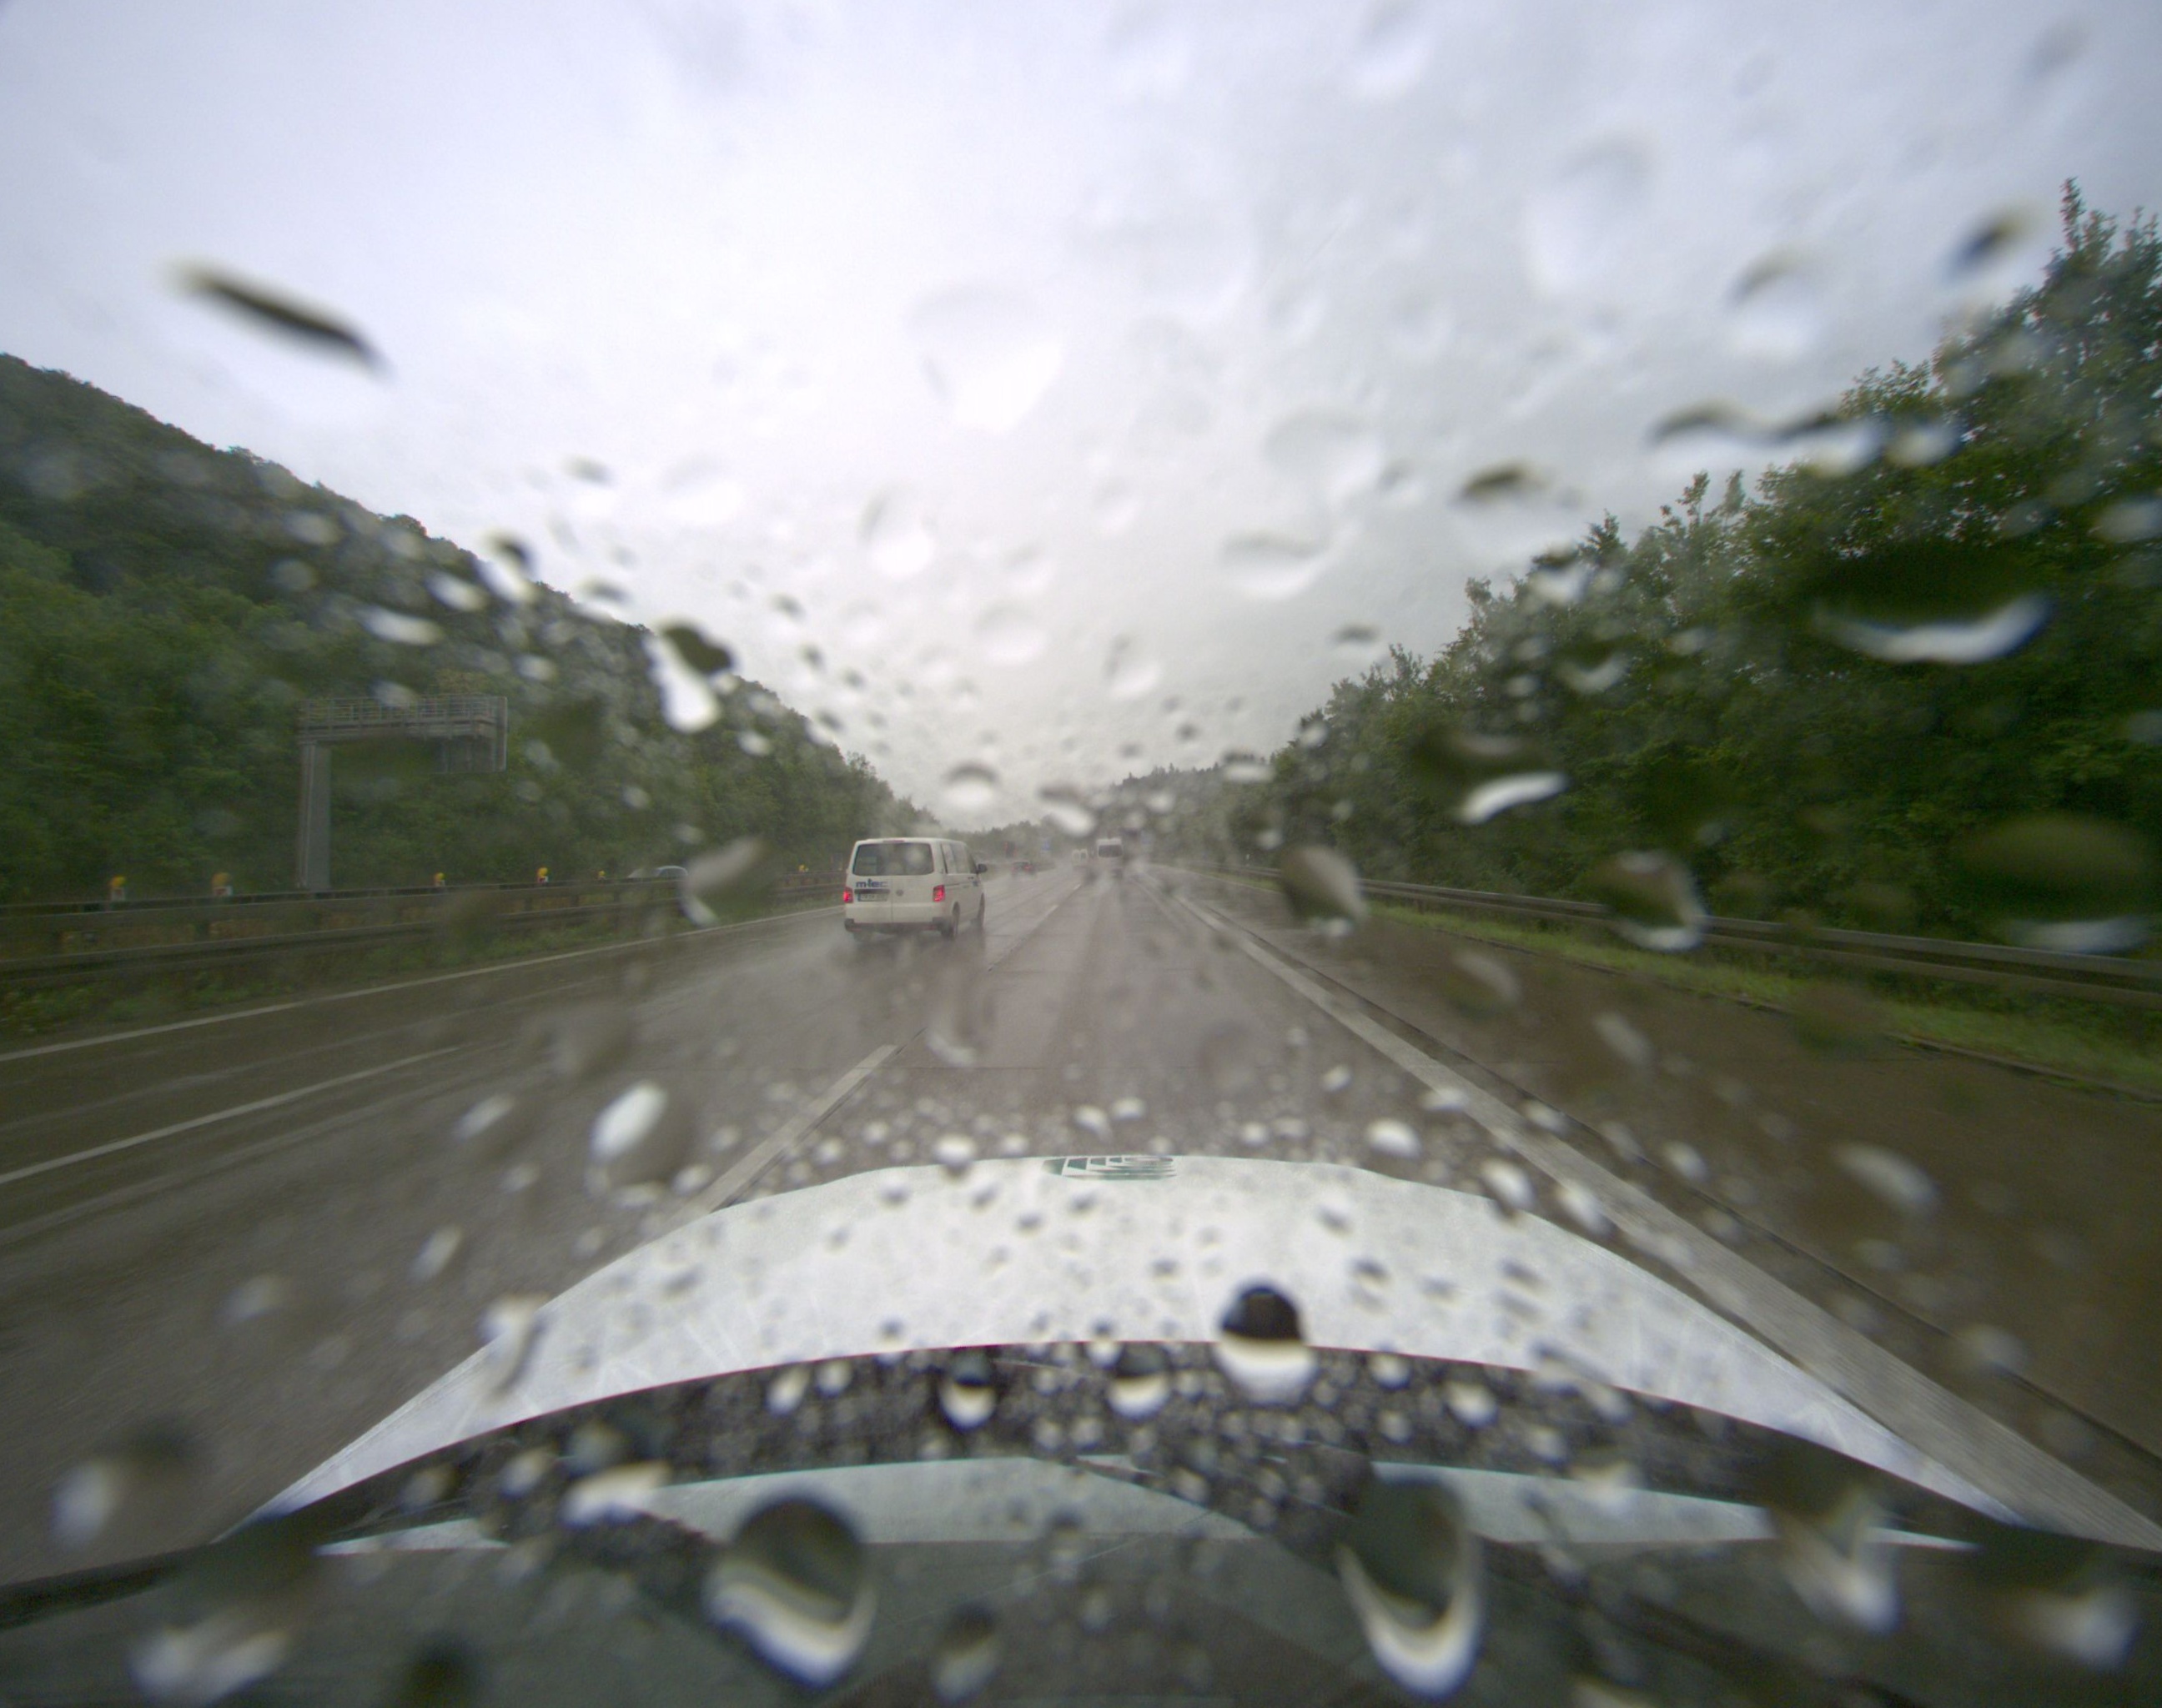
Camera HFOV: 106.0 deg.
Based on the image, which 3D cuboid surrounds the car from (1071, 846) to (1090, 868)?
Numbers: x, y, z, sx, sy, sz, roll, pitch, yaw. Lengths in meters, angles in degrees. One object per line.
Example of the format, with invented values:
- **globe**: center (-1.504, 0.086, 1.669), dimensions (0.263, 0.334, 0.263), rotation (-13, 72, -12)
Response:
- **car**: center (-0.038, 0.382, 95.329), dimensions (1.991, 2.432, 5.791), rotation (1, 0, 1)

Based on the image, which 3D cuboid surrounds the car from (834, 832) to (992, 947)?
- **car**: center (-3.114, 0.606, 16.263), dimensions (1.892, 1.894, 5.045), rotation (-1, 0, 2)

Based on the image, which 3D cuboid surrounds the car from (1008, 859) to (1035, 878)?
- **car**: center (-4.593, 1.097, 63.417), dimensions (1.735, 1.388, 4.321), rotation (-1, -1, 0)

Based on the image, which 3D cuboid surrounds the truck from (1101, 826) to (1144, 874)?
- **truck**: center (3.725, -0.486, 75.032), dimensions (3.372, 3.967, 8.671), rotation (-4, 1, 2)

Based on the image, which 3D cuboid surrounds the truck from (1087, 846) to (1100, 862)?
- **truck**: center (2.616, 0.112, 168.327), dimensions (1.990, 3.169, 6.722), rotation (-2, 0, -5)

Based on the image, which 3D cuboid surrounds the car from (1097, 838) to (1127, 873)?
- **car**: center (2.095, 0.103, 56.551), dimensions (1.893, 2.334, 5.251), rotation (1, 0, 1)
